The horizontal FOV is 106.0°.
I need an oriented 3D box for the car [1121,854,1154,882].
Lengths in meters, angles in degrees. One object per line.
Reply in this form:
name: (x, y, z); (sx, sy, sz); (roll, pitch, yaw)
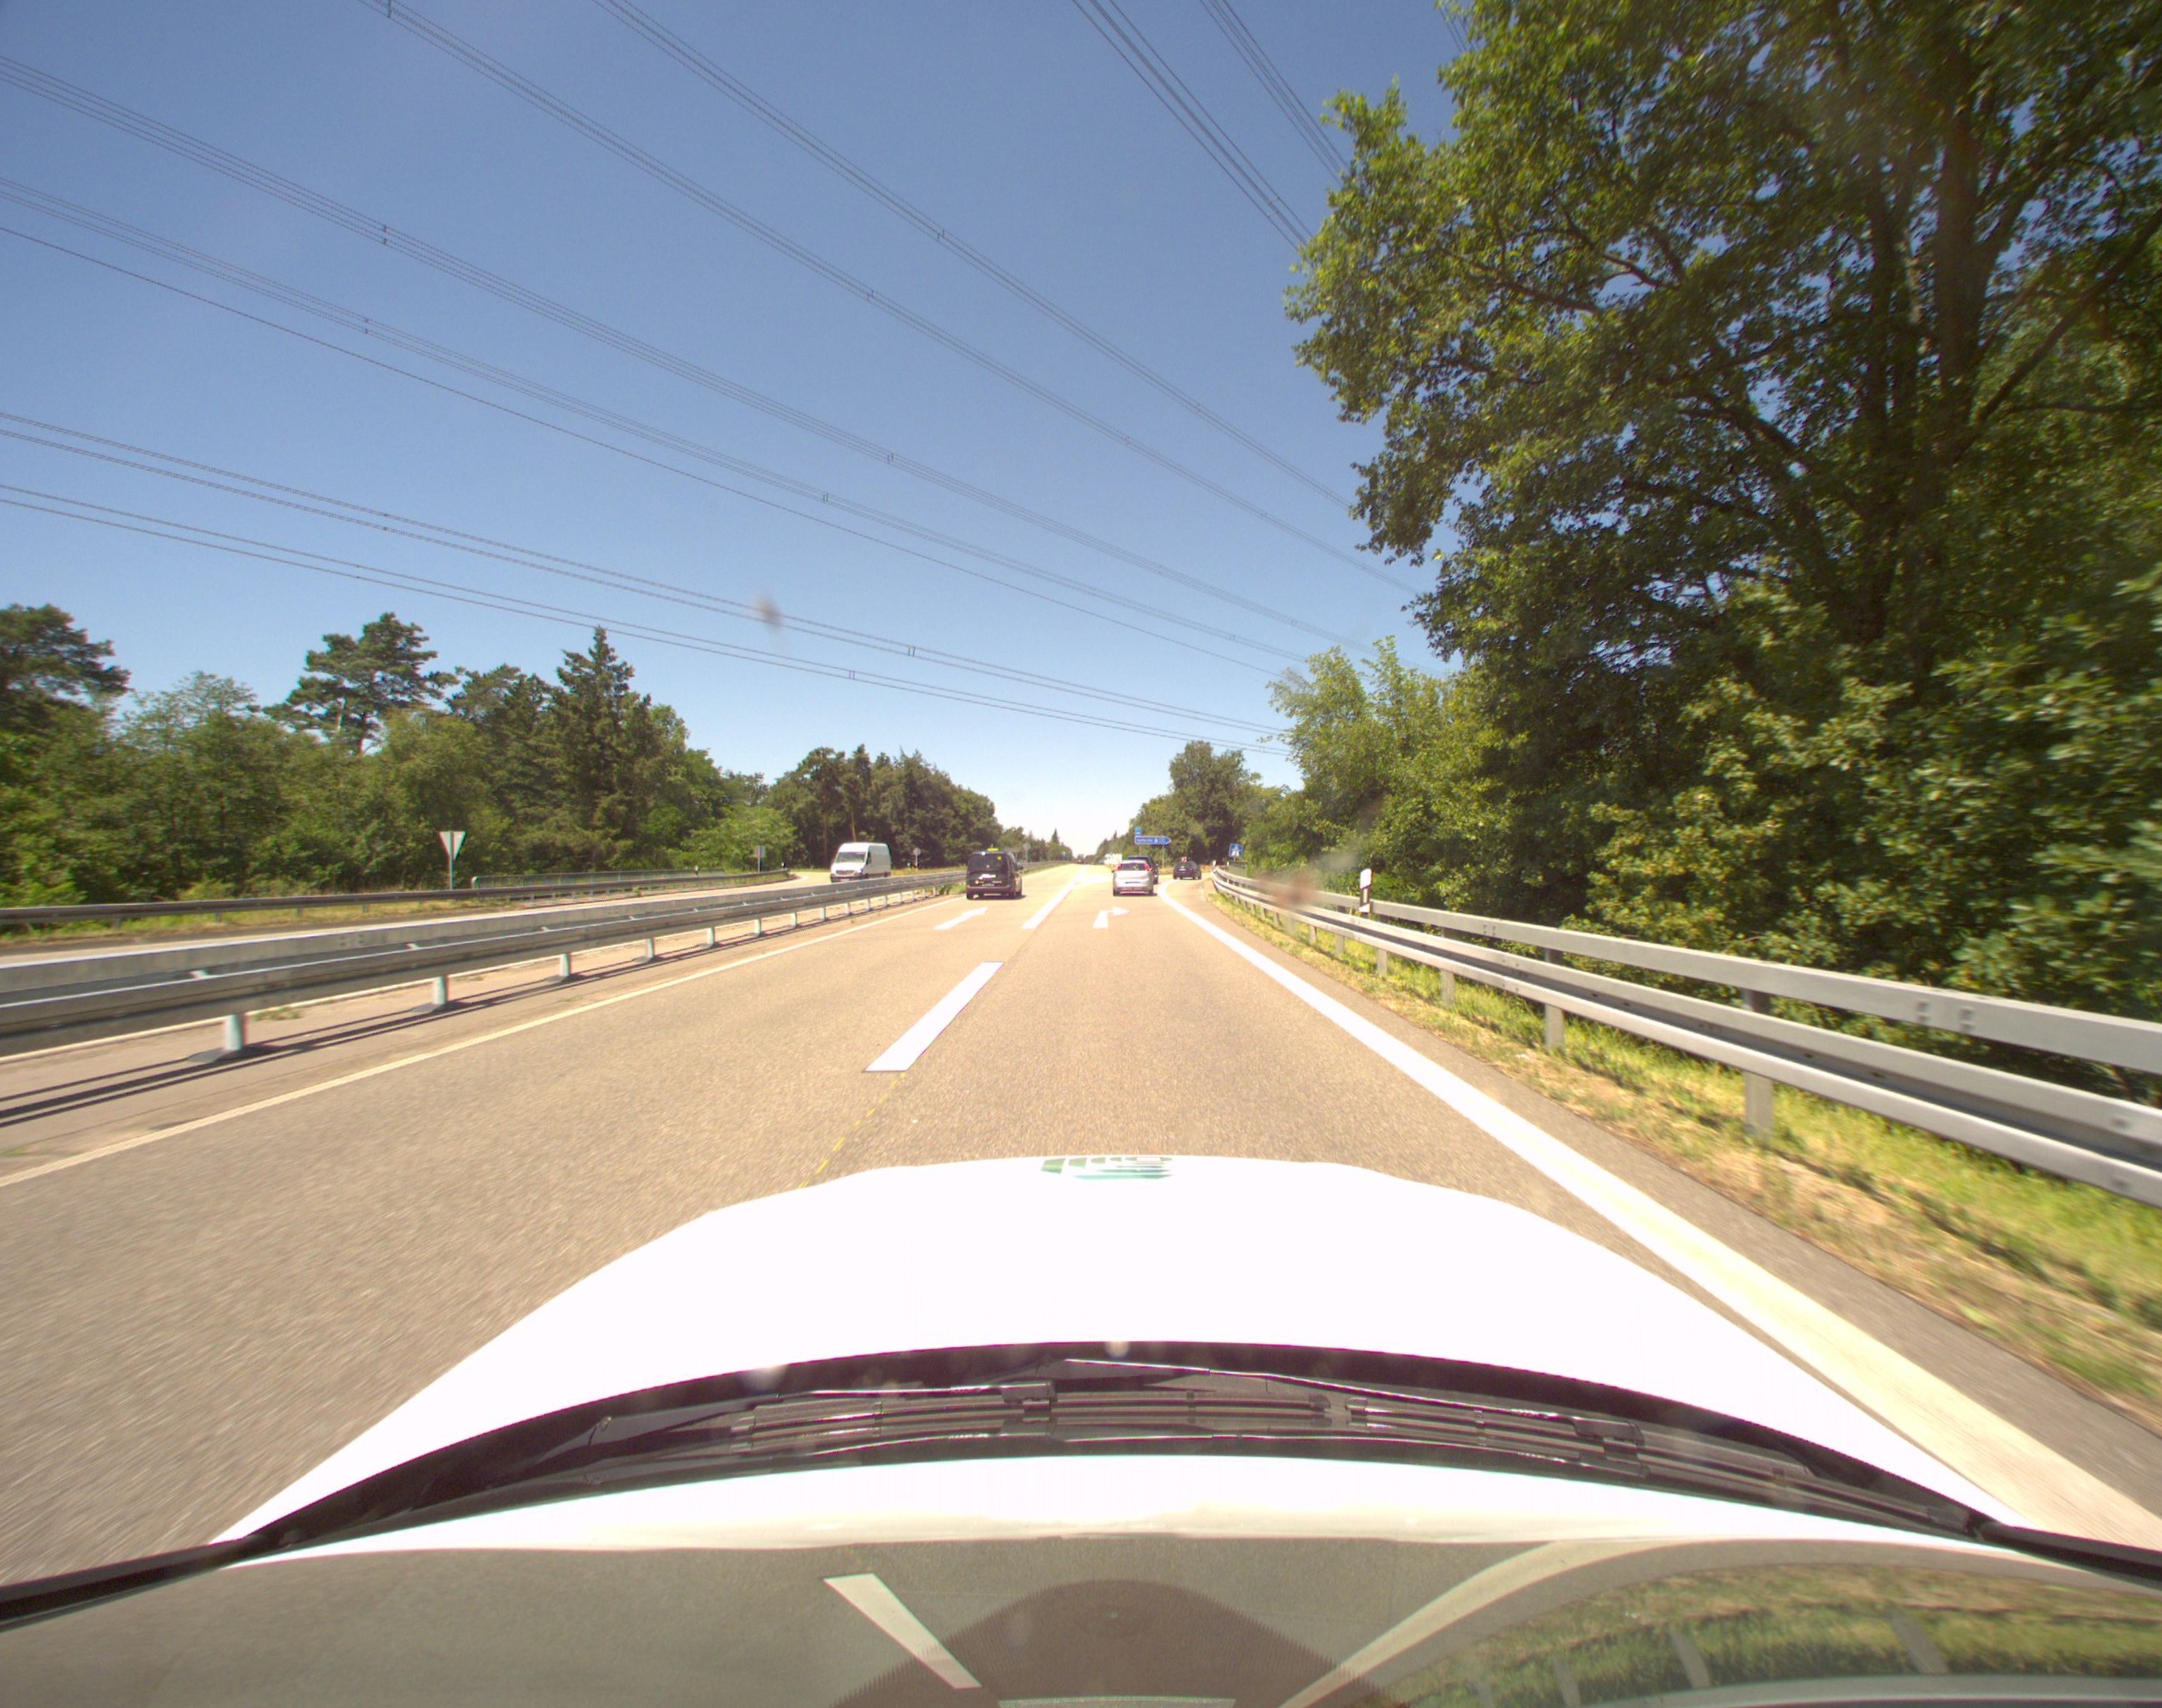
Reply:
car: (3.523, 0.844, 50.392); (1.630, 1.654, 3.583); (2, 0, 9)

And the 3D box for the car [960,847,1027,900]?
car: (-3.336, 0.714, 32.127); (1.847, 1.887, 5.575); (-1, 0, 2)

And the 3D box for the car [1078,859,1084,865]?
car: (0.052, 2.223, 227.458); (1.706, 1.471, 3.575); (2, 0, 1)

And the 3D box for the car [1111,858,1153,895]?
car: (2.192, 0.913, 34.350); (1.632, 1.468, 3.423); (2, 0, 5)

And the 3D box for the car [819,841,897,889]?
car: (-13.342, 0.650, 49.320); (2.515, 2.618, 7.187); (-2, 0, 1)

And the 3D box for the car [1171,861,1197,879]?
car: (8.223, 1.256, 64.927); (1.628, 1.342, 3.587); (2, 0, 14)

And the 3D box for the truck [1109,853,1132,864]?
truck: (10.214, 1.139, 208.470); (2.593, 2.642, 7.714); (-1, 0, 31)
